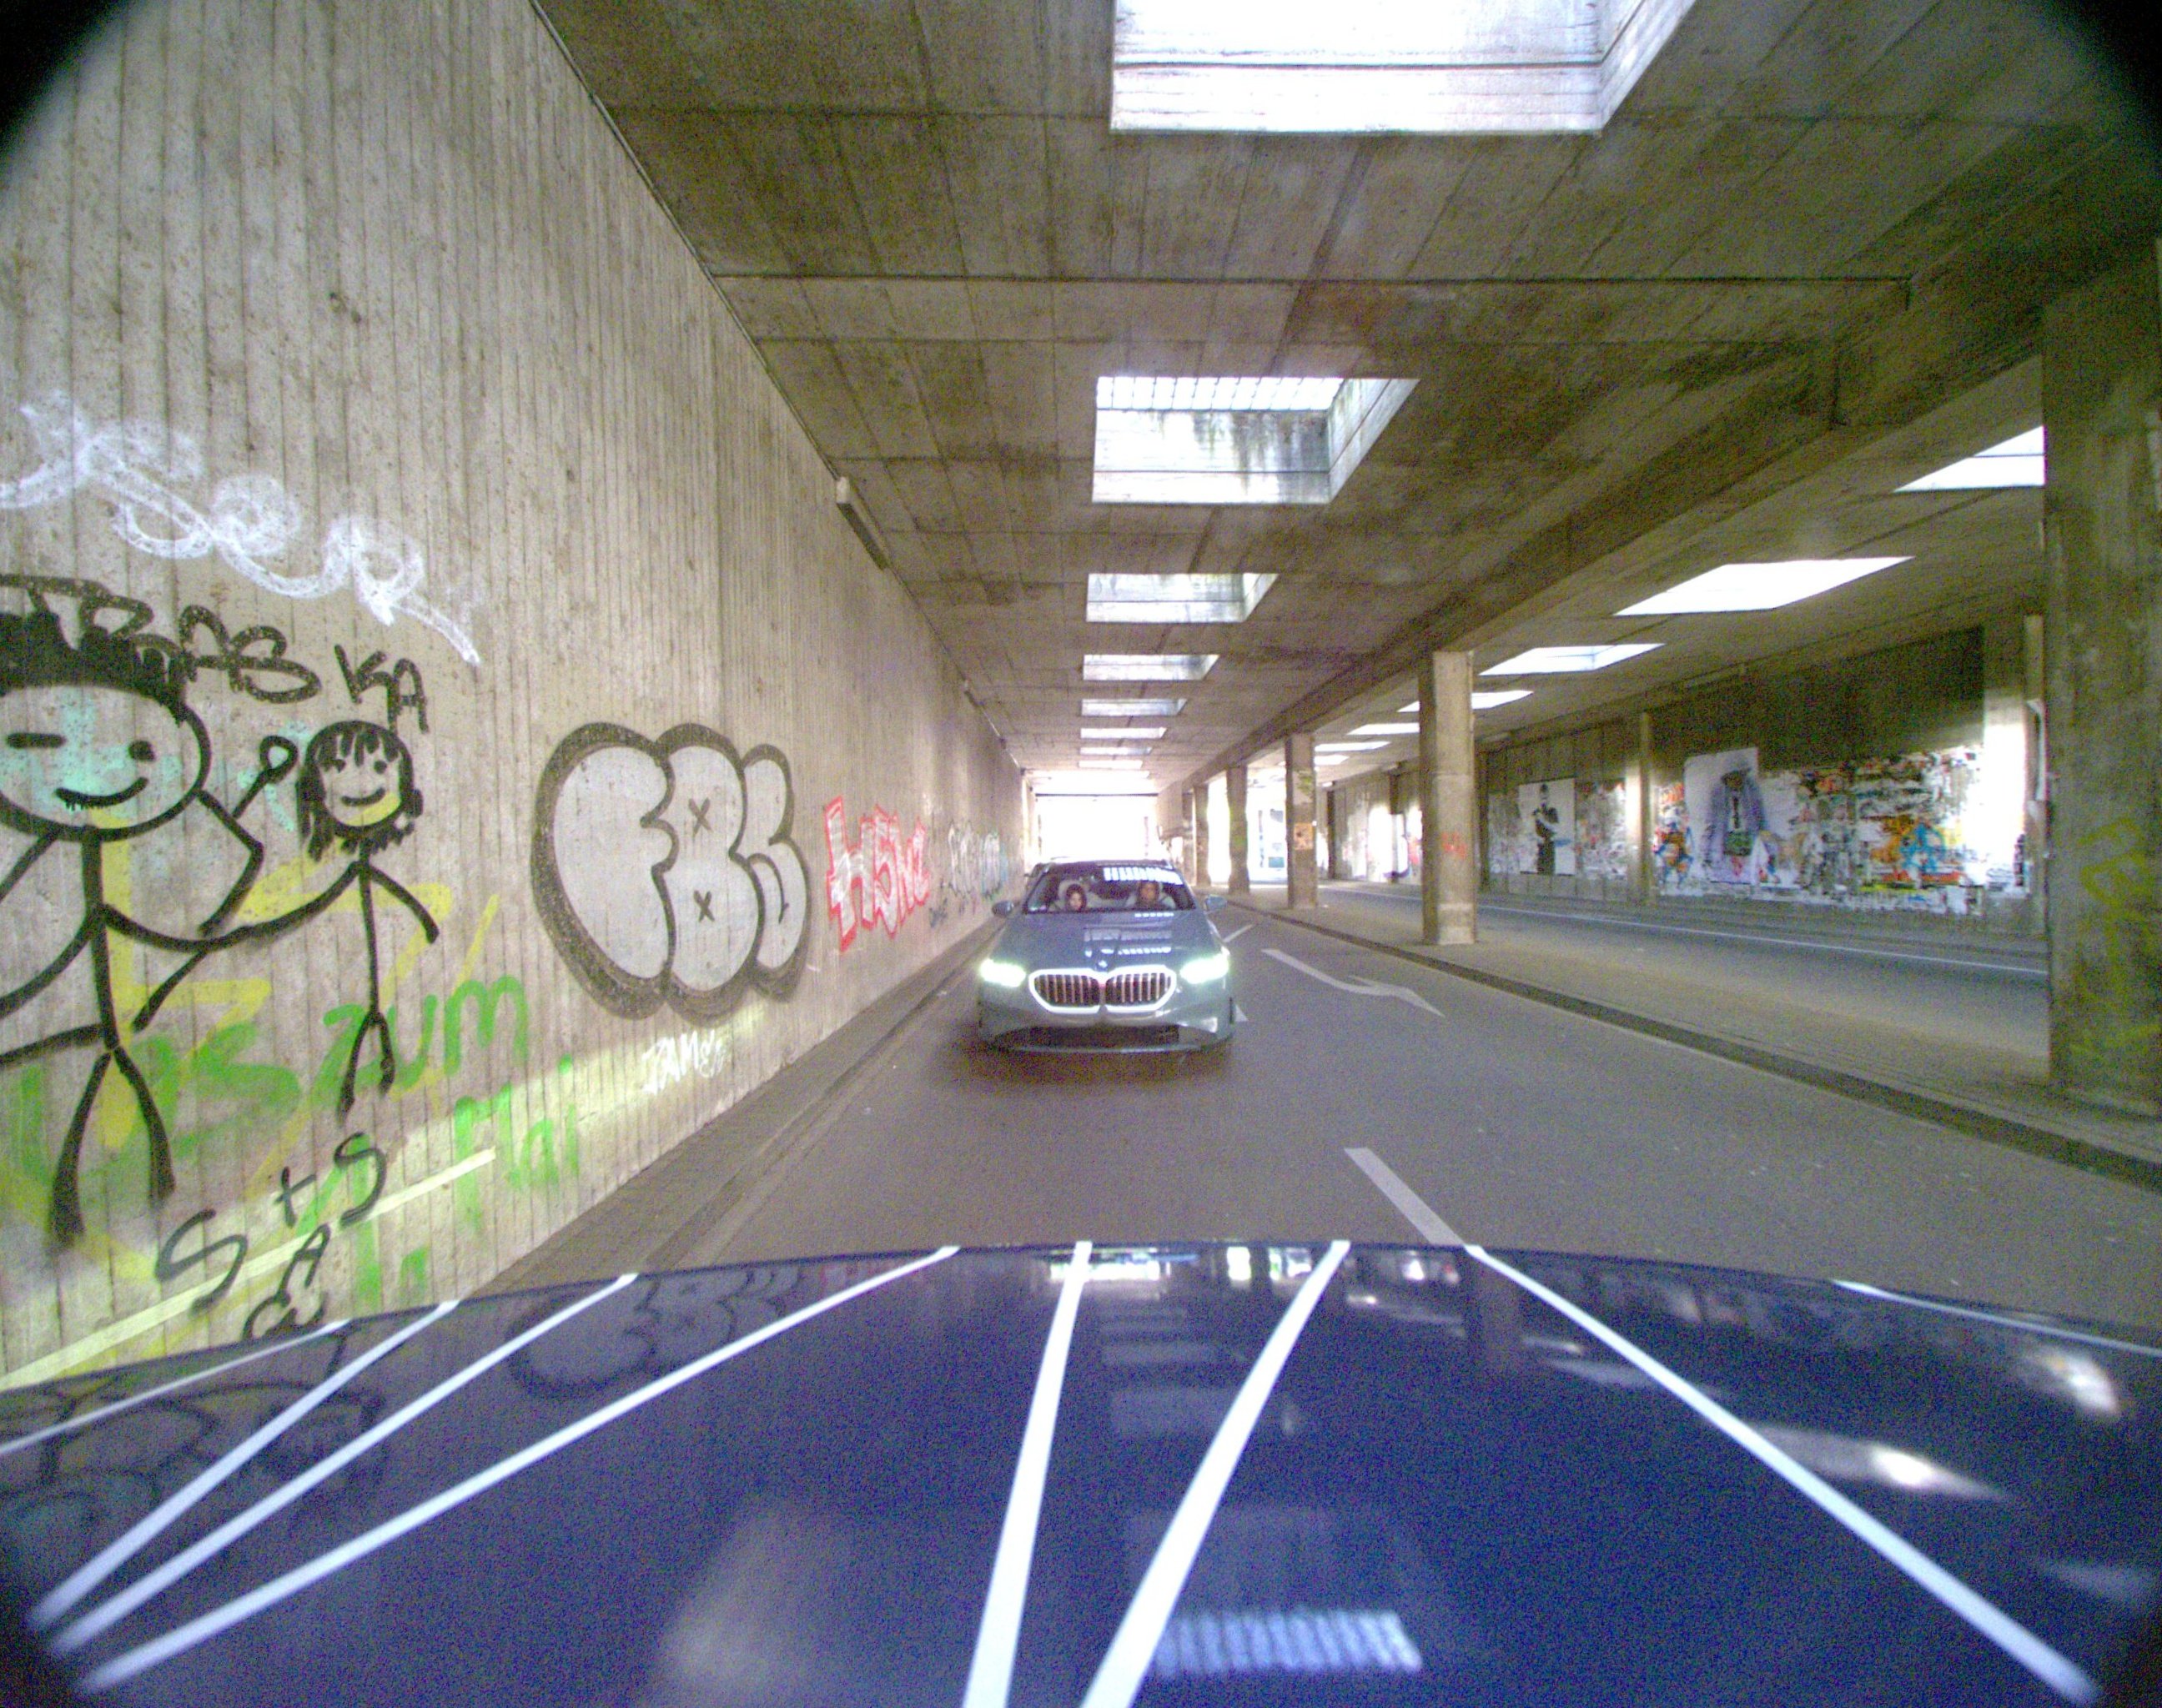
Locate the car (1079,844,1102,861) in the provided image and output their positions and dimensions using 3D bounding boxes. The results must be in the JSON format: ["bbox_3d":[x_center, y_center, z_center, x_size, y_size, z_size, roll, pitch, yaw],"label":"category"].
[{"bbox_3d":[1.293,-0.186,103.658,2.161,2.150,4.785,-2,0,-12],"label":"car"}]

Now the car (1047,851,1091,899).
[{"bbox_3d":[-0.460,0.772,29.919,1.592,1.711,3.694,-2,0,0],"label":"car"}]

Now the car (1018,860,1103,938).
[{"bbox_3d":[-0.424,0.921,17.286,1.679,1.516,3.969,-2,0,0],"label":"car"}]

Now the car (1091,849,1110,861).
[{"bbox_3d":[2.489,0.144,97.966,1.741,1.519,3.786,-2,0,-9],"label":"car"}]

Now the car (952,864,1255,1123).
[{"bbox_3d":[0.128,0.907,7.277,1.861,1.516,5.042,-2,0,0],"label":"car"}]

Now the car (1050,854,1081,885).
[{"bbox_3d":[-0.802,0.807,41.246,1.592,1.562,3.694,-2,0,0],"label":"car"}]

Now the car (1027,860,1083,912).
[{"bbox_3d":[-0.759,0.949,23.912,1.592,1.432,3.806,-2,0,0],"label":"car"}]
